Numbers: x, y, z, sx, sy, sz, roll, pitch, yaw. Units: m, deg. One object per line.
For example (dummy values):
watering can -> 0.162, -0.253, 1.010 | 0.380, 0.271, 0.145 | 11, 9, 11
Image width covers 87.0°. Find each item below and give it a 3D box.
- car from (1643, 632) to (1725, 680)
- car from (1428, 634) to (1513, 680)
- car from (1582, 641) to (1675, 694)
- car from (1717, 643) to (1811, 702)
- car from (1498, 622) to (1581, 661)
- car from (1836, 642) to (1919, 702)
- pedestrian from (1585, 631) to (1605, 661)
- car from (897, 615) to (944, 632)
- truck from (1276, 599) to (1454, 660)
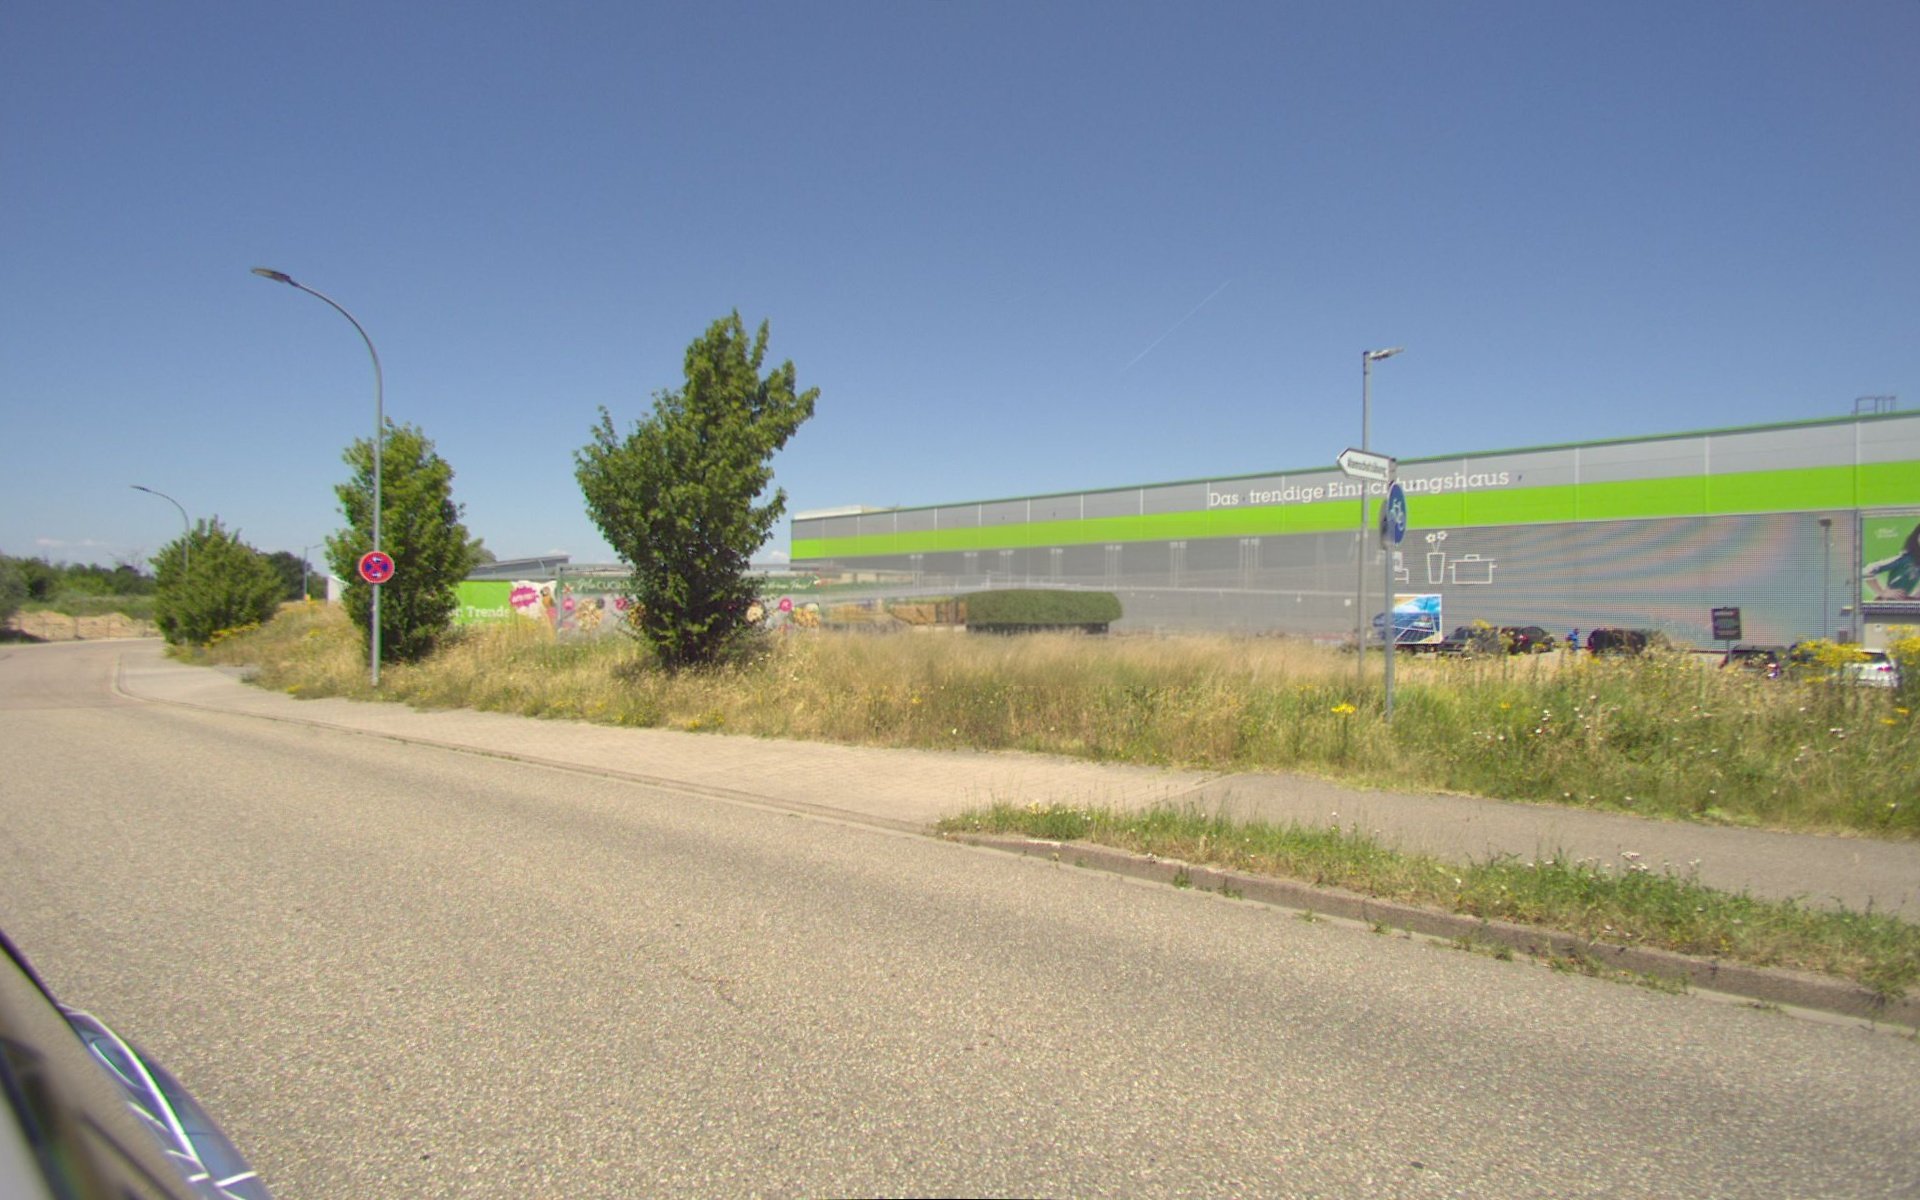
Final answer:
car -> 27.388, 2.052, 38.247 | 2.000, 1.524, 3.943 | -1, 1, 43
car -> 23.147, 2.533, 45.801 | 4.206, 1.774, 2.003 | -2, 0, -42
car -> 22.933, 2.243, 34.666 | 2.000, 1.478, 3.943 | -1, 1, 43
car -> 25.632, 2.250, 32.226 | 2.000, 1.524, 3.943 | -1, 1, 43
car -> 30.432, 2.149, 53.131 | 3.931, 1.785, 2.006 | -2, 0, -29
car -> 27.831, 2.127, 30.604 | 1.846, 1.448, 3.943 | -1, 1, 43
pedestrian -> 32.557, 2.361, 51.905 | 0.765, 1.462, 0.631 | -1, 0, 41
car -> -3.522, 2.137, 91.665 | 3.940, 1.533, 2.002 | 1, -2, -44
truck -> 19.809, 1.391, 49.621 | 7.649, 2.704, 2.969 | -1, -1, -12
